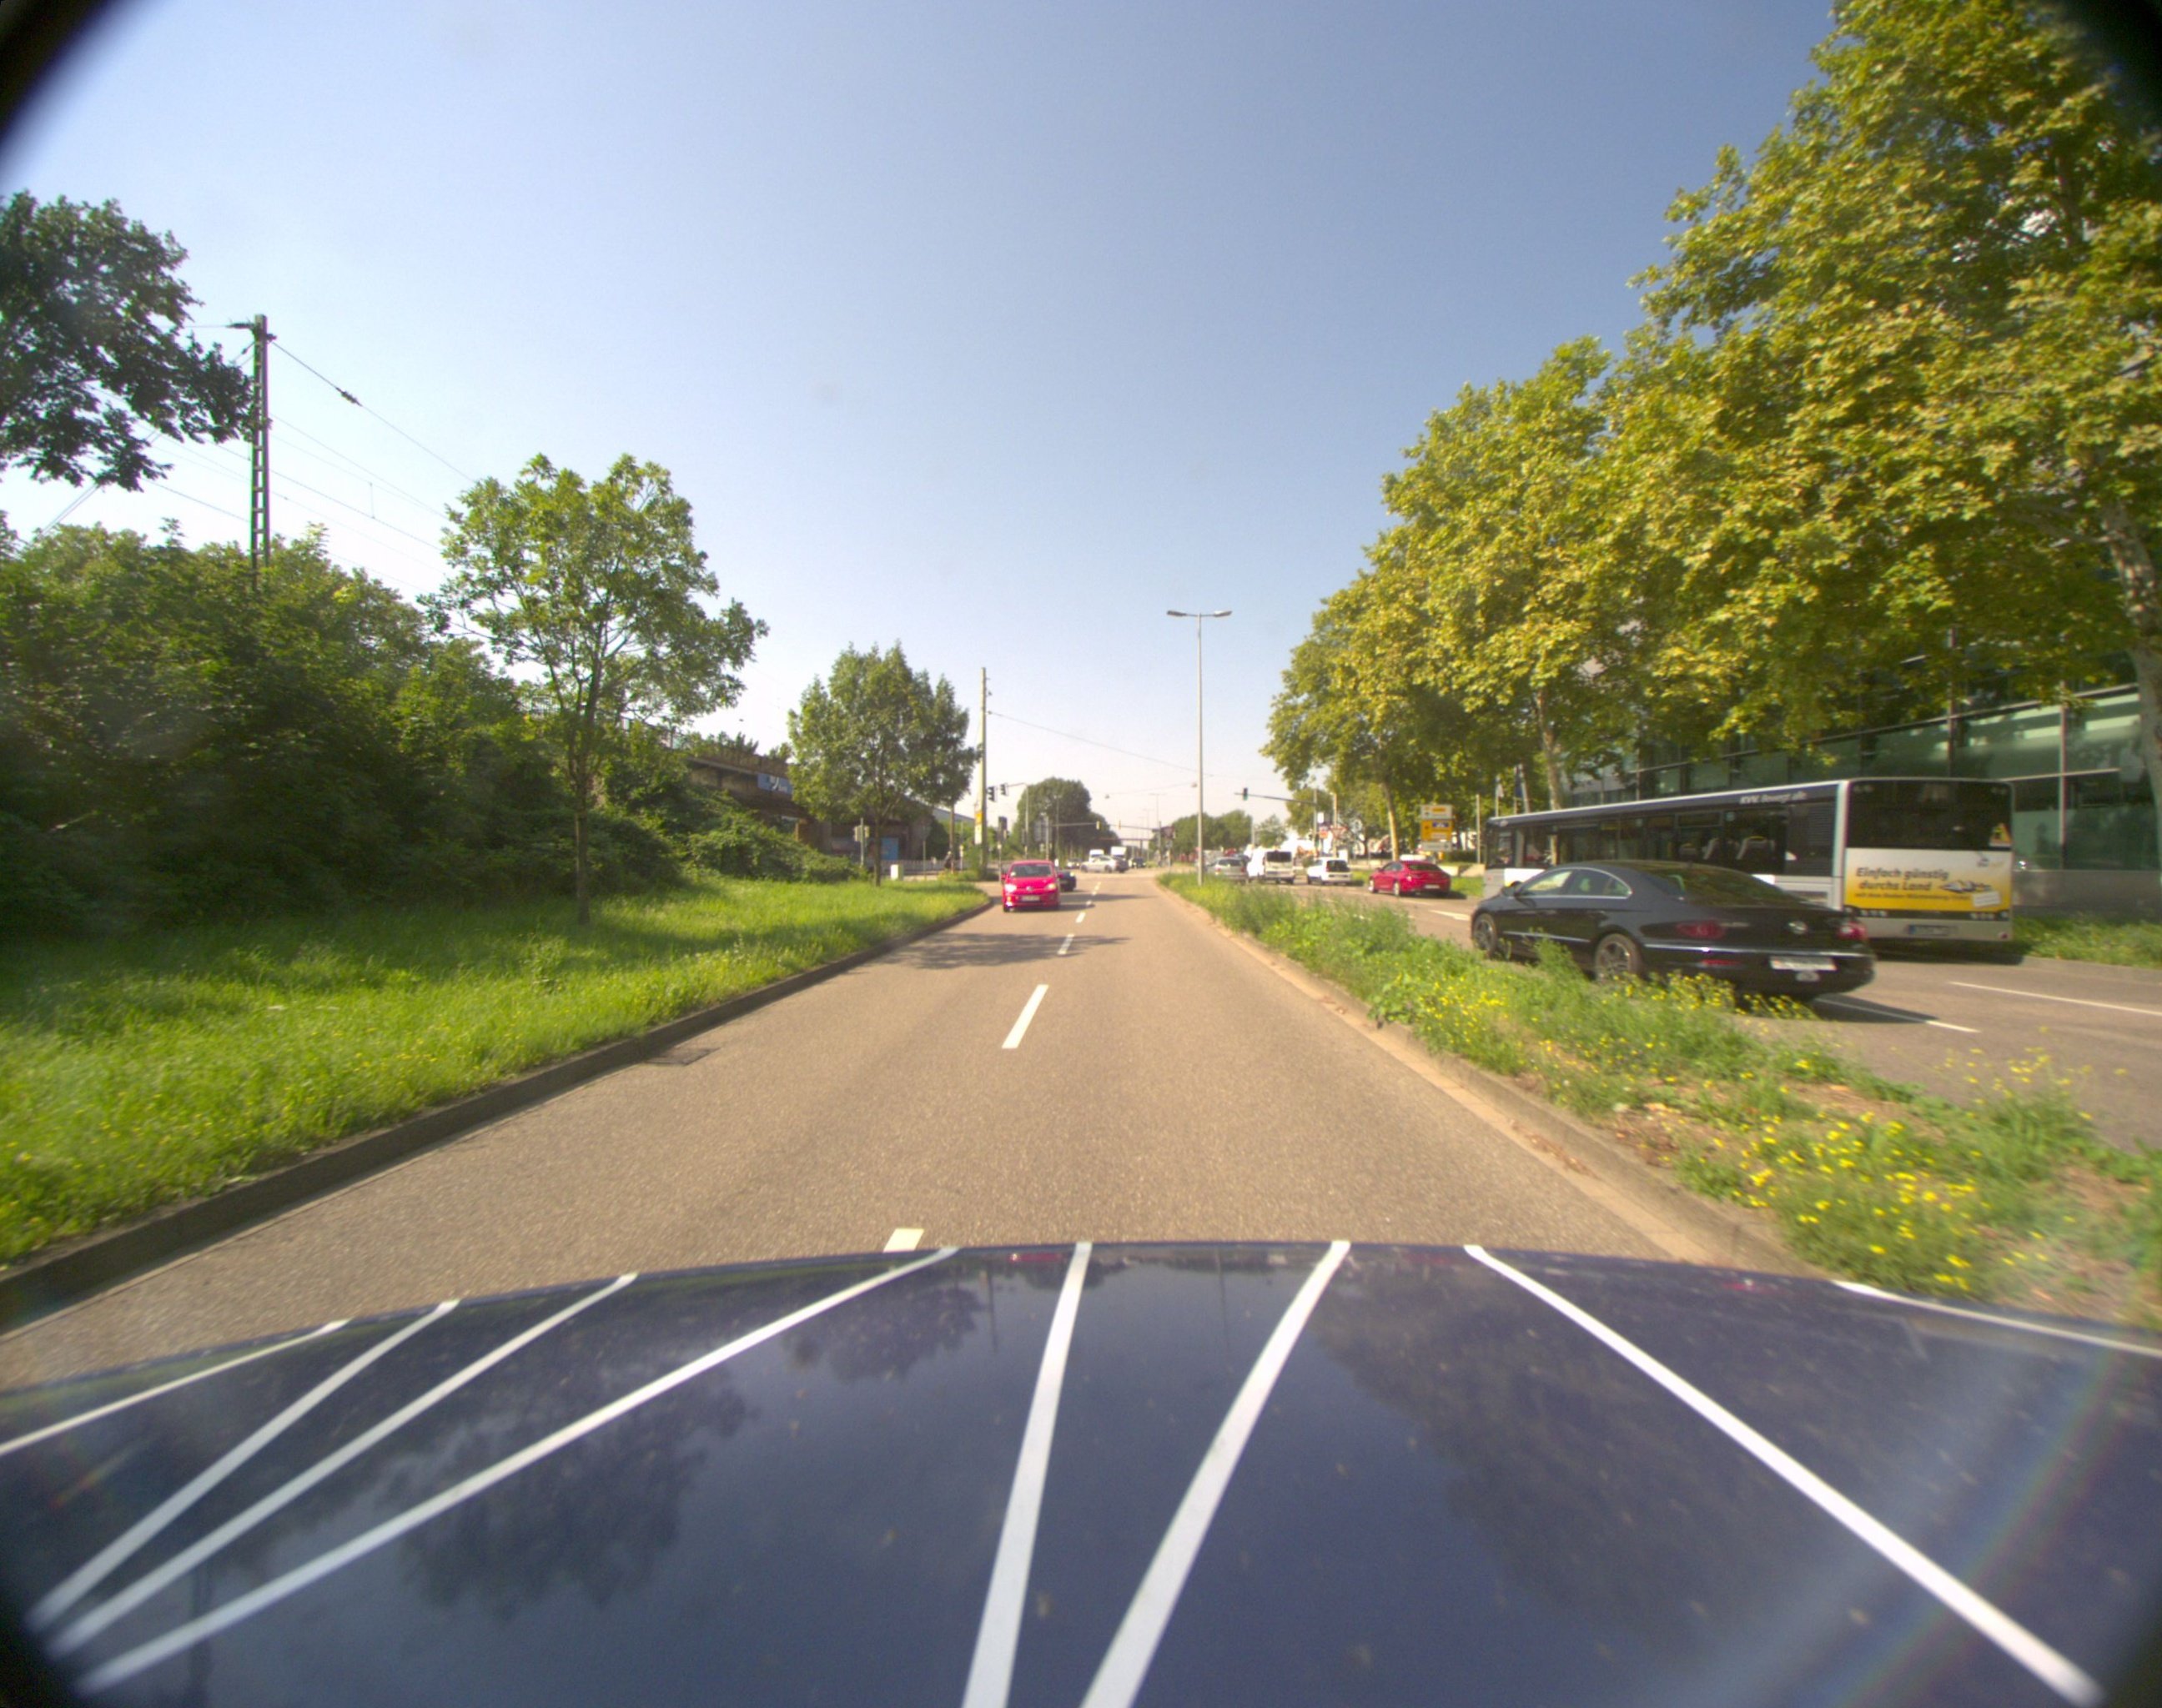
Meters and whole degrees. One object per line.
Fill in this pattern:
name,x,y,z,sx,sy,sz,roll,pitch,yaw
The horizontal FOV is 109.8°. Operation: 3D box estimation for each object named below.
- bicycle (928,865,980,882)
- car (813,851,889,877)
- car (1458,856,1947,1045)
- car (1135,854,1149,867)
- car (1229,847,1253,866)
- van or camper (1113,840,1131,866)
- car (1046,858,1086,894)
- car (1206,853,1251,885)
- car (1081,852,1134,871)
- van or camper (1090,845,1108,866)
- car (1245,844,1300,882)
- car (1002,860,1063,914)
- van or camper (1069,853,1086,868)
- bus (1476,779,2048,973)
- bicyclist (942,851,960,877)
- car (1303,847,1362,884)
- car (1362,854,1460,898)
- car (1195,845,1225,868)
bicycle,-8.008,1.231,47.922,2.981,1.043,1.233,0,0,-23
car,-15.239,0.611,50.418,4.481,1.608,1.903,0,1,-30
car,6.233,0.793,8.560,1.850,1.481,4.644,1,0,3
car,8.727,0.979,108.657,1.904,1.603,5.200,-2,-2,5
car,15.071,0.230,71.688,1.671,1.527,3.729,1,3,4
van or camper,5.909,-0.101,109.500,2.247,3.341,6.856,-2,-2,5
car,-0.718,0.971,34.120,1.643,1.458,3.553,-3,-1,-3
car,7.618,0.751,39.659,1.618,1.526,4.102,2,-1,2
car,2.237,0.597,64.666,1.845,1.434,4.592,1,0,-40
van or camper,2.509,0.244,103.703,2.247,2.467,6.870,-2,-2,3
car,10.650,0.473,42.659,1.931,1.949,5.191,2,0,3
car,-1.517,0.932,22.944,1.643,1.458,3.552,-2,0,-5
van or camper,-0.429,0.897,101.047,1.850,1.765,4.177,-2,-2,3
bus,12.474,0.262,16.237,2.668,2.679,10.906,2,1,2
bicyclist,-8.174,0.612,47.845,0.971,1.648,0.711,0,0,-23
car,13.759,0.603,41.733,1.932,1.885,3.976,2,1,1
car,12.969,0.812,30.265,1.783,1.502,5.213,2,1,2
car,11.313,0.280,67.039,1.932,1.946,5.214,0,-1,1
